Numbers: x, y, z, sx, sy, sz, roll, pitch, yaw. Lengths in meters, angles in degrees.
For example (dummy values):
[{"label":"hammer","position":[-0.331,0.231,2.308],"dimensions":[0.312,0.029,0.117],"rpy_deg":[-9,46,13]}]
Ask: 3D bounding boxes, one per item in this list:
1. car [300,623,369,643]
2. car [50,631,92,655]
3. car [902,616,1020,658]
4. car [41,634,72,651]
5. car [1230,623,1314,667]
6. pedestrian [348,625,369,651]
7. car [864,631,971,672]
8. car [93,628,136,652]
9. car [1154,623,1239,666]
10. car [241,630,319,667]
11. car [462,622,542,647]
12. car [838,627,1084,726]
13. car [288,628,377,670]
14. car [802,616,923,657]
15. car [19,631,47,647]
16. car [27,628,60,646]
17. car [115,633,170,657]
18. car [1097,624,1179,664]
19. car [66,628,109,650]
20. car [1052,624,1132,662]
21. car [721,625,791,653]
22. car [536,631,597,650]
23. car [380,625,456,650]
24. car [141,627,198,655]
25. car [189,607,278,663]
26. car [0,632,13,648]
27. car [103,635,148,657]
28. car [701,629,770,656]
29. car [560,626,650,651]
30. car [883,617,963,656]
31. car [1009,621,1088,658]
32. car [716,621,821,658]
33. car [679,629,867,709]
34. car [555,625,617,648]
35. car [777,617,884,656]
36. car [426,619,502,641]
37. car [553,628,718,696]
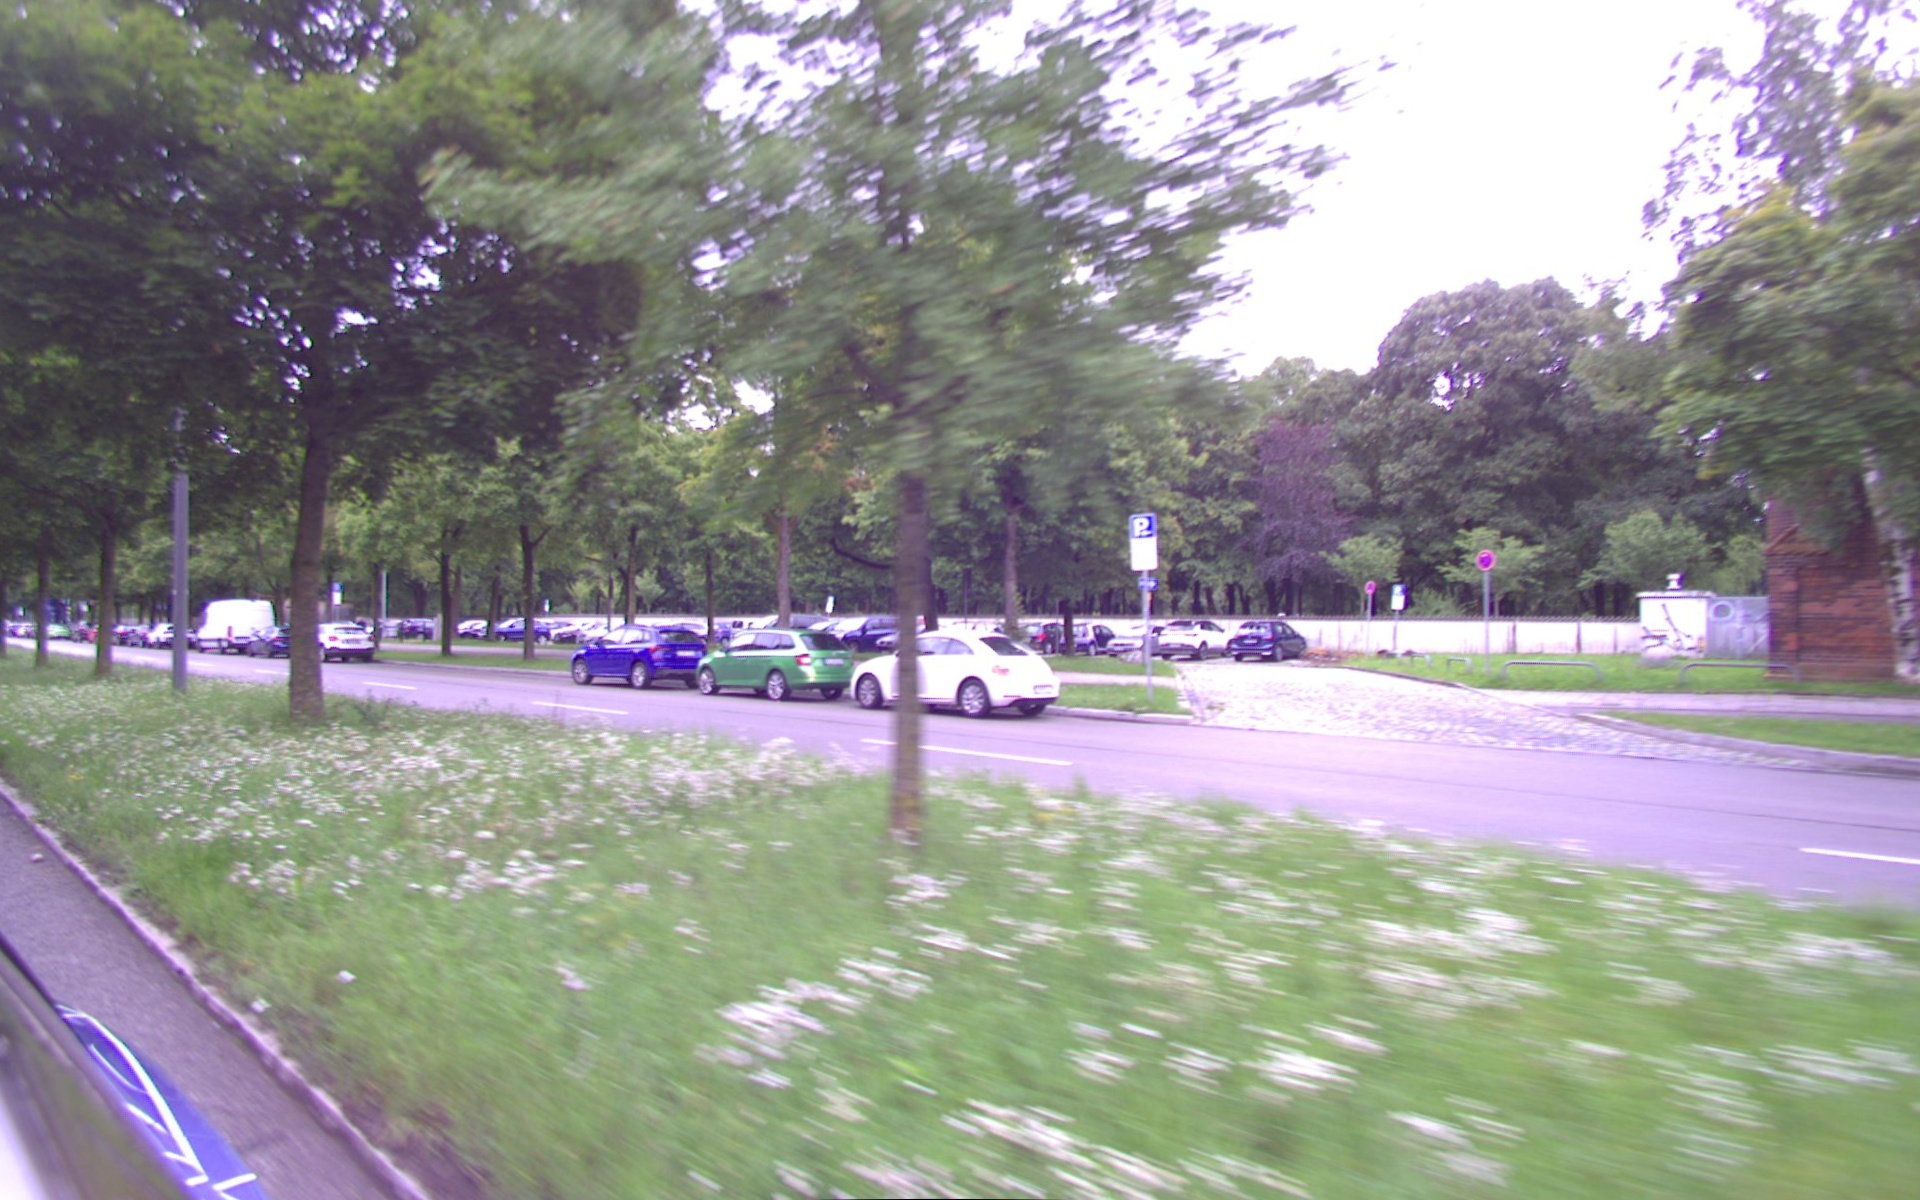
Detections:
[{"label":"car","position":[-48.222,2.539,78.105],"dimensions":[1.998,1.453,4.094],"rpy_deg":[-1,-1,39]},{"label":"car","position":[-67.889,3.248,77.283],"dimensions":[4.236,1.712,1.803],"rpy_deg":[0,-1,40]},{"label":"car","position":[0.097,1.268,35.751],"dimensions":[1.758,1.403,4.367],"rpy_deg":[-1,-2,41]},{"label":"car","position":[-80.386,3.776,90.013],"dimensions":[3.999,1.511,1.622],"rpy_deg":[-2,-3,42]},{"label":"car","position":[12.492,1.765,40.395],"dimensions":[1.814,1.548,3.946],"rpy_deg":[-1,0,40]},{"label":"pedestrian","position":[-34.918,2.188,58.762],"dimensions":[0.856,1.507,0.786],"rpy_deg":[-2,-2,41]},{"label":"car","position":[-1.539,1.876,37.570],"dimensions":[1.758,1.403,3.935],"rpy_deg":[-1,-2,41]},{"label":"car","position":[-59.796,2.824,71.547],"dimensions":[4.112,1.611,1.802],"rpy_deg":[-1,-2,43]},{"label":"car","position":[9.859,1.799,41.994],"dimensions":[1.814,1.548,3.946],"rpy_deg":[-1,0,40]},{"label":"car","position":[-30.764,2.151,45.749],"dimensions":[4.249,1.502,1.838],"rpy_deg":[0,-1,40]},{"label":"car","position":[-26.879,1.998,59.440],"dimensions":[3.940,1.449,1.816],"rpy_deg":[1,-2,-44]},{"label":"car","position":[-0.066,1.300,18.082],"dimensions":[4.312,1.549,1.742],"rpy_deg":[-1,-4,41]},{"label":"car","position":[-25.175,1.923,40.548],"dimensions":[4.139,1.502,1.838],"rpy_deg":[0,-1,40]},{"label":"car","position":[-3.756,1.394,39.280],"dimensions":[4.293,1.516,2.004],"rpy_deg":[1,-2,-39]},{"label":"car","position":[-91.180,3.840,99.543],"dimensions":[3.686,1.433,1.632],"rpy_deg":[-2,-4,42]},{"label":"car","position":[-86.606,3.490,95.621],"dimensions":[4.454,1.643,1.802],"rpy_deg":[-1,-3,41]},{"label":"car","position":[-51.004,2.776,63.136],"dimensions":[3.995,1.459,1.804],"rpy_deg":[-1,-3,38]},{"label":"car","position":[7.925,1.905,44.790],"dimensions":[1.814,1.548,3.946],"rpy_deg":[-1,0,40]},{"label":"car","position":[-63.933,2.806,74.131],"dimensions":[3.807,1.490,1.803],"rpy_deg":[0,-1,40]},{"label":"car","position":[6.118,1.930,46.658],"dimensions":[1.814,1.548,3.946],"rpy_deg":[-1,0,40]},{"label":"car","position":[-12.651,2.397,62.849],"dimensions":[3.940,1.608,1.771],"rpy_deg":[1,-2,-44]},{"label":"car","position":[-30.264,3.095,77.890],"dimensions":[3.940,1.383,1.879],"rpy_deg":[1,-2,-44]},{"label":"car","position":[-34.884,2.382,65.251],"dimensions":[1.810,1.582,3.952],"rpy_deg":[-1,-2,35]},{"label":"car","position":[-46.916,2.445,60.054],"dimensions":[4.296,1.539,1.803],"rpy_deg":[0,-2,40]},{"label":"car","position":[-36.765,1.796,51.129],"dimensions":[7.102,2.664,2.117],"rpy_deg":[-2,-3,42]},{"label":"car","position":[-112.515,4.657,118.381],"dimensions":[4.529,1.784,1.839],"rpy_deg":[-1,-3,39]},{"label":"car","position":[-56.085,3.092,67.981],"dimensions":[4.001,1.420,1.801],"rpy_deg":[-1,-3,44]},{"label":"car","position":[-14.247,2.667,64.419],"dimensions":[3.940,1.608,1.771],"rpy_deg":[1,-2,-44]},{"label":"car","position":[-17.944,1.929,51.318],"dimensions":[1.784,1.219,3.942],"rpy_deg":[-2,-2,44]},{"label":"car","position":[-2.025,2.003,56.683],"dimensions":[1.999,2.050,4.459],"rpy_deg":[-1,-2,40]},{"label":"car","position":[4.276,1.843,48.373],"dimensions":[1.814,1.548,3.946],"rpy_deg":[-1,0,40]},{"label":"car","position":[-8.138,1.661,43.146],"dimensions":[3.934,1.516,2.005],"rpy_deg":[1,-2,-36]},{"label":"car","position":[-4.070,1.421,21.642],"dimensions":[4.312,1.549,1.621],"rpy_deg":[-1,-4,41]},{"label":"car","position":[-28.008,2.730,75.851],"dimensions":[3.940,1.666,1.771],"rpy_deg":[1,-2,-44]},{"label":"car","position":[-5.378,1.493,42.083],"dimensions":[3.934,1.516,2.005],"rpy_deg":[1,-2,-36]},{"label":"car","position":[-31.586,1.891,64.523],"dimensions":[1.815,1.349,3.942],"rpy_deg":[-2,-2,44]},{"label":"car","position":[-8.136,1.513,25.225],"dimensions":[4.310,1.549,1.867],"rpy_deg":[-1,-4,40]}]
